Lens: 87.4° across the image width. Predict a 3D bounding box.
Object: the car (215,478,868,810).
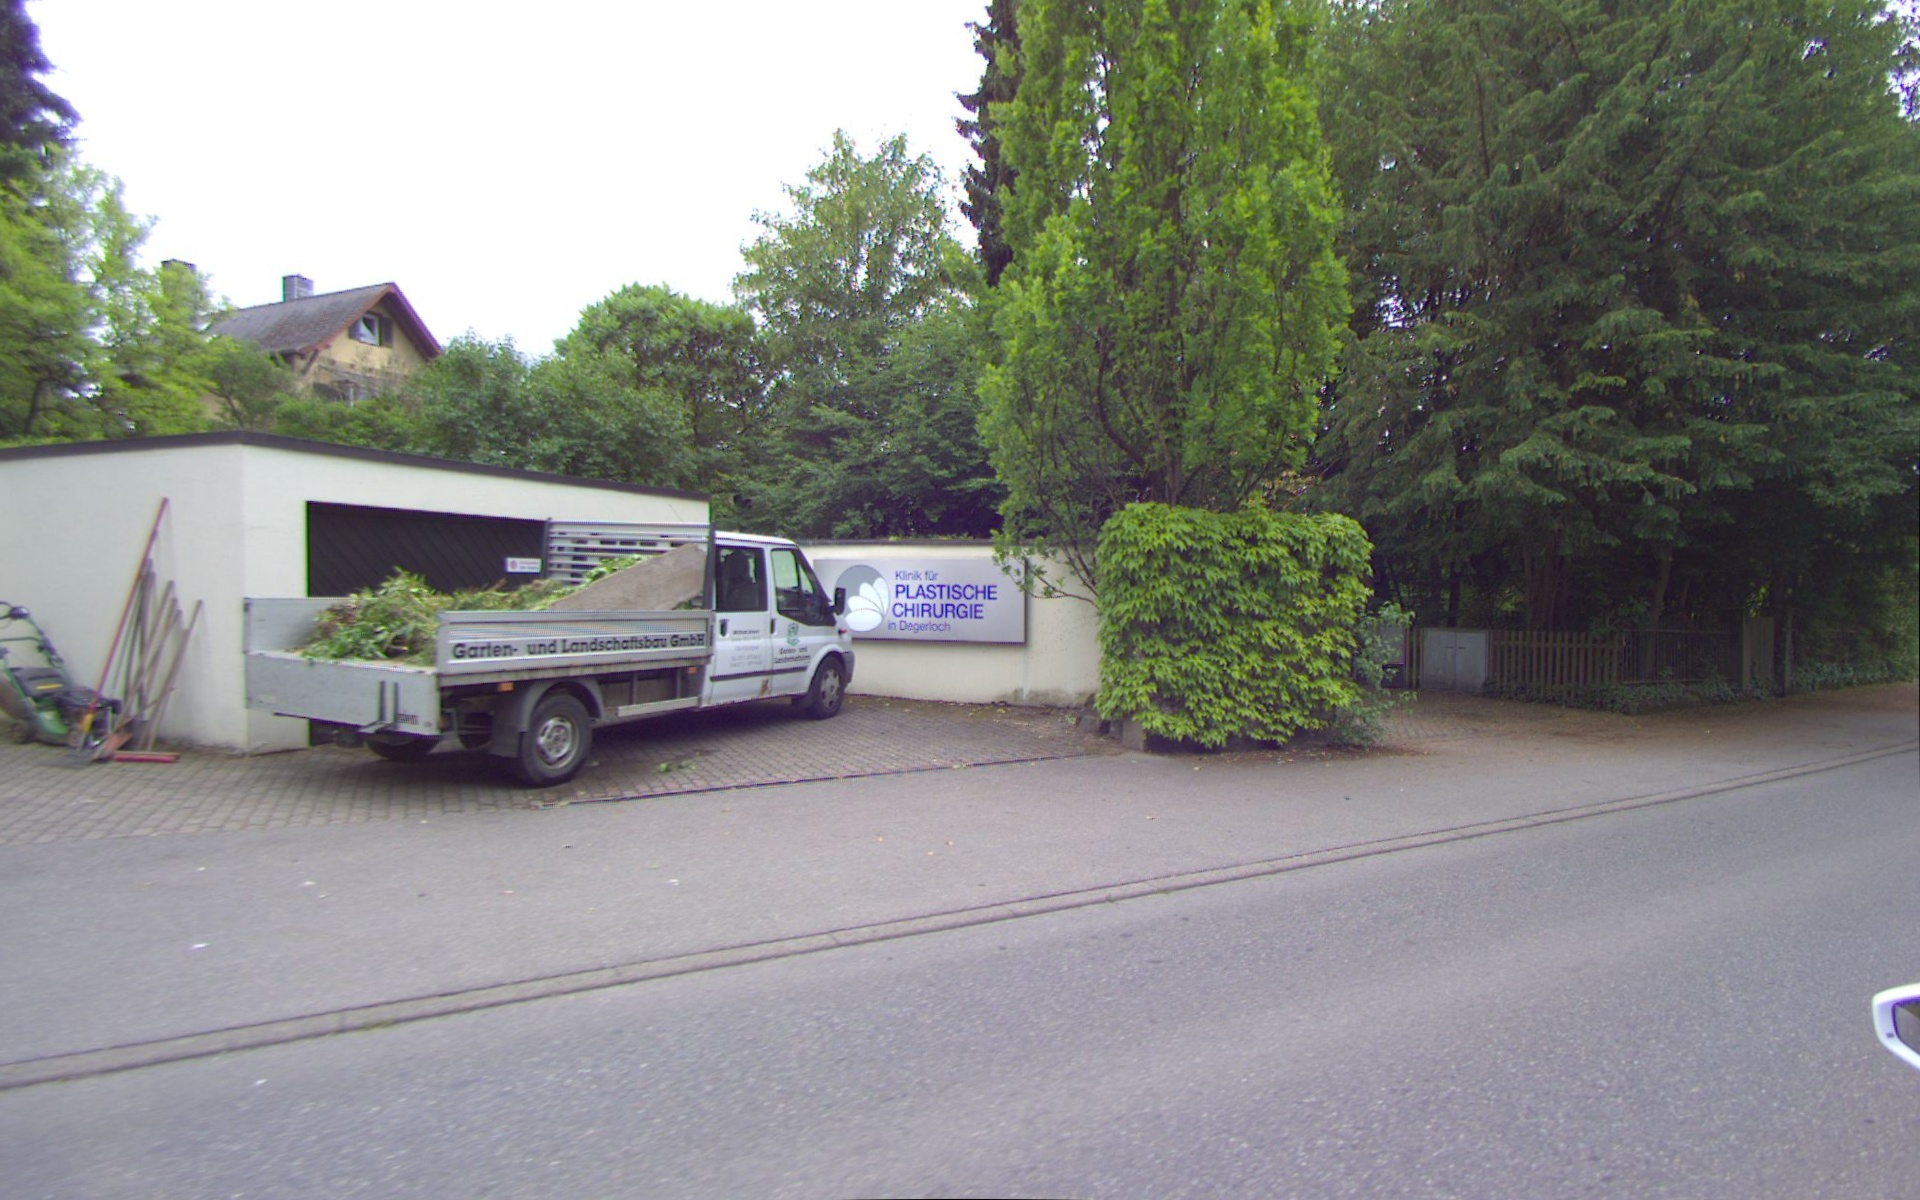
[{"bbox_3d":[-3.266,0.259,9.300,2.380,2.100,5.356,2,1,25],"label":"car"}]
